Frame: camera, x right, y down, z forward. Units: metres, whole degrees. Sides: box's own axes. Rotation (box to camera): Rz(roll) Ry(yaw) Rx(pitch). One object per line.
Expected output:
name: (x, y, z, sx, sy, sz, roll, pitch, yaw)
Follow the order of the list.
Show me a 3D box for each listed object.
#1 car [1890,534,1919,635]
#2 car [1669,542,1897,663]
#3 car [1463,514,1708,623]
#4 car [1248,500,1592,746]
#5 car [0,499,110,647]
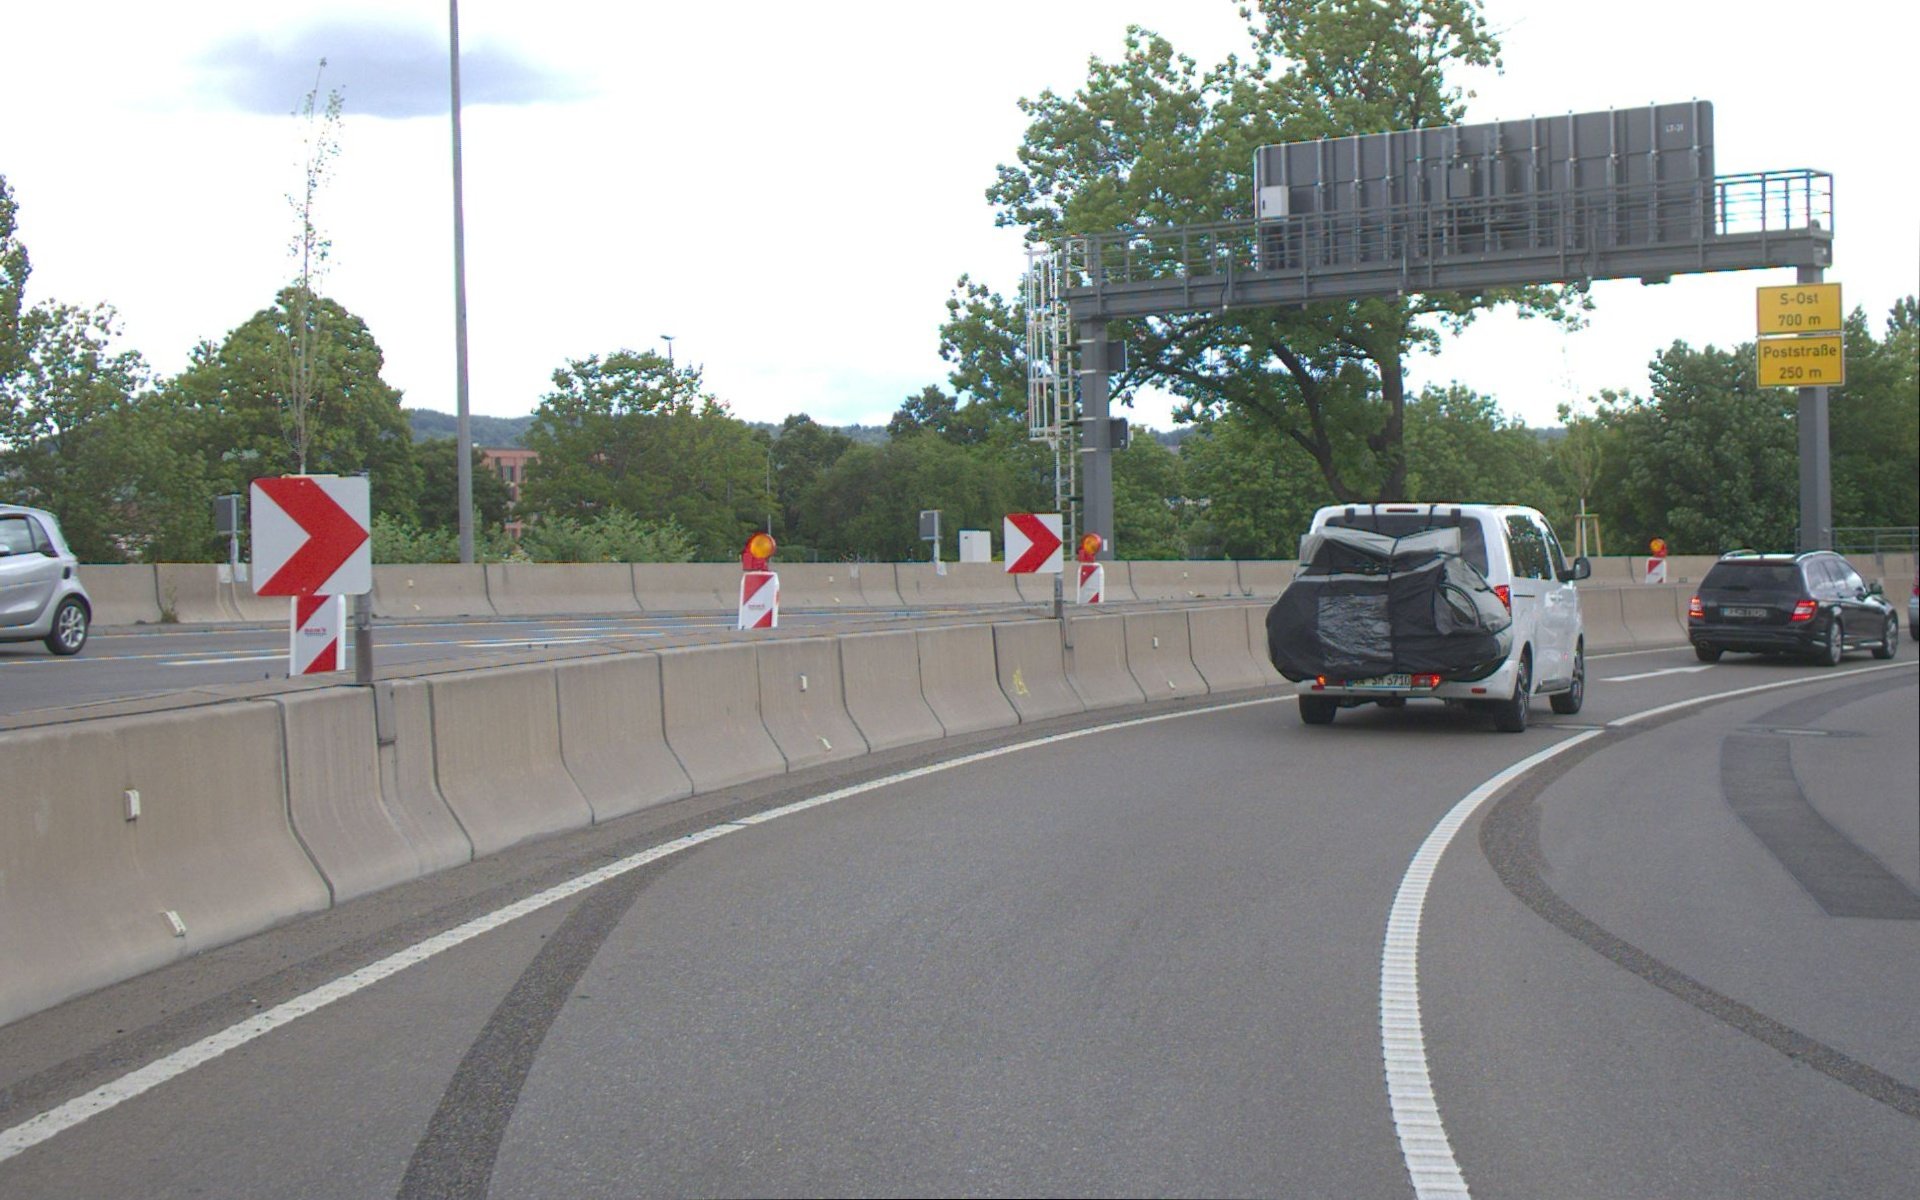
car: (15.676, -0.267, 52.059, 1.924, 1.483, 4.058, 1, 2, 33)
car: (10.558, 0.011, 43.919, 1.817, 1.429, 4.059, -1, 1, 29)
car: (9.665, -0.515, 52.766, 2.101, 1.546, 5.134, 2, 2, 30)
car: (4.056, 0.095, 29.411, 1.994, 1.852, 5.637, 2, 2, 17)
car: (-10.115, -0.278, 34.572, 1.627, 1.470, 2.937, 1, 1, 22)
